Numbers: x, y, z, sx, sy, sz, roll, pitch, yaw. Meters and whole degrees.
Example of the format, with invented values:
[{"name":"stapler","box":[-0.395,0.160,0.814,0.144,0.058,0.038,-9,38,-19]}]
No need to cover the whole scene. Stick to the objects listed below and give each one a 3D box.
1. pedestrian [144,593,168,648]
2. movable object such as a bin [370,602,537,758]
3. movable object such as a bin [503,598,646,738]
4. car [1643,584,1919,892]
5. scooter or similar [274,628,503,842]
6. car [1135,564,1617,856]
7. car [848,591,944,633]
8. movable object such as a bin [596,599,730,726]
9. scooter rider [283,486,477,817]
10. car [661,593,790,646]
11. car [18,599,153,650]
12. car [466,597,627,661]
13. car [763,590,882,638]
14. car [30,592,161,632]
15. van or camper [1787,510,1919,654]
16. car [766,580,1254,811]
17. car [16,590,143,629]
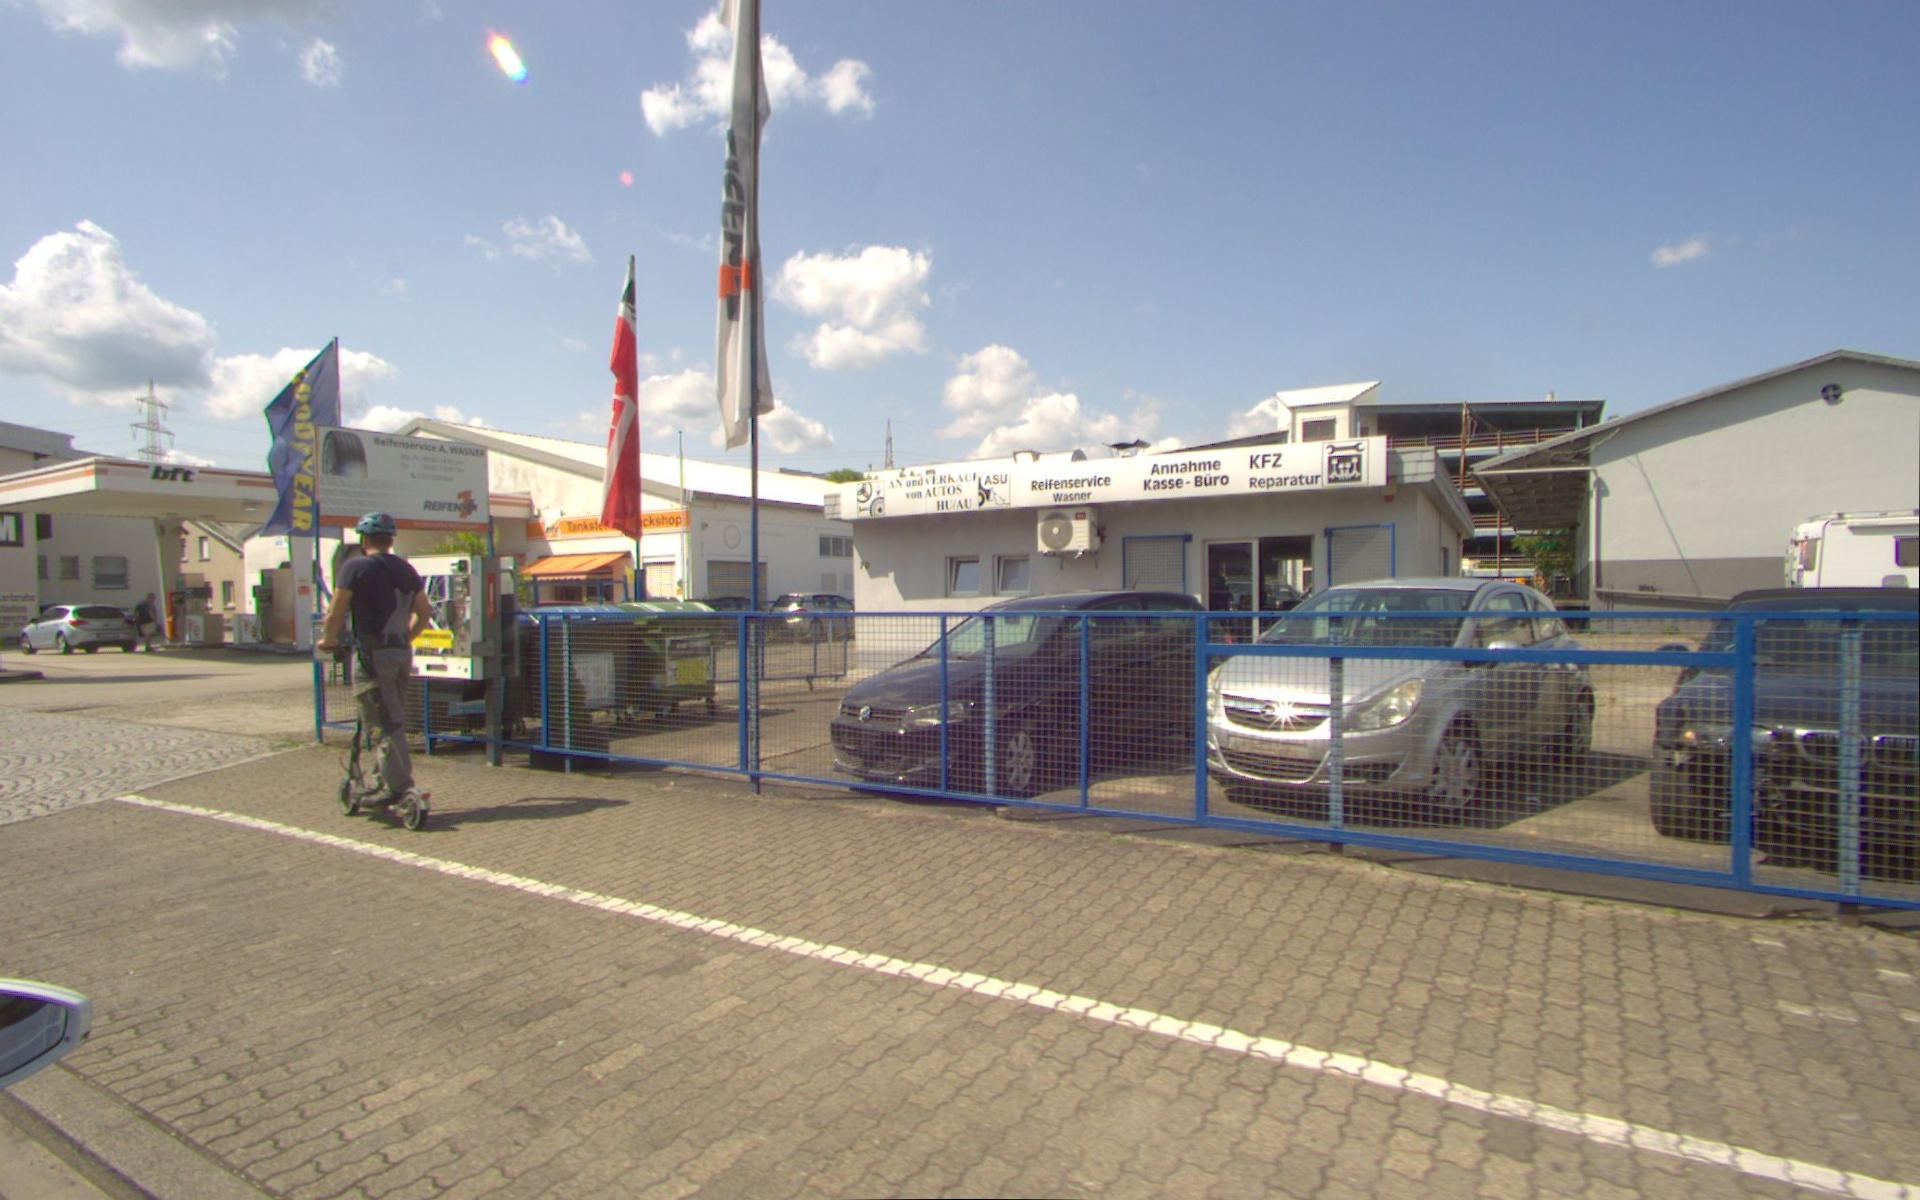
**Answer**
[{"name":"pedestrian","box":[-24.993,0.638,31.123,0.478,1.712,0.395,0,2,33]},{"name":"movable object such as a bin","box":[-5.176,0.773,10.290,0.812,1.464,1.253,-1,1,32]},{"name":"movable object such as a bin","box":[-4.365,0.733,11.401,0.812,1.464,1.253,-1,1,32]},{"name":"car","box":[5.447,0.597,6.075,1.799,1.374,3.968,0,0,40]},{"name":"scooter or similar","box":[-3.692,0.800,6.436,1.587,1.211,0.539,-1,2,32]},{"name":"car","box":[3.161,0.551,7.188,3.959,1.516,1.734,-1,1,-43]},{"name":"car","box":[-2.271,0.412,36.462,1.589,1.407,3.652,-1,1,33]},{"name":"movable object such as a bin","box":[-3.692,0.742,12.544,0.939,1.464,1.320,-1,1,25]},{"name":"scooter rider","box":[-3.753,0.301,6.501,0.774,1.990,0.715,0,4,32]},{"name":"car","box":[-6.659,0.528,28.717,1.589,1.379,3.488,-1,1,32]},{"name":"car","box":[-27.169,0.743,31.112,3.940,1.439,1.956,-1,1,30]},{"name":"car","box":[-9.988,0.652,24.387,1.589,1.379,3.313,-1,1,32]},{"name":"car","box":[-4.409,0.421,32.640,1.589,1.407,3.998,-1,1,33]},{"name":"car","box":[-38.563,0.512,44.750,1.937,1.671,3.979,-1,1,31]},{"name":"van or camper","box":[20.127,-0.385,20.159,4.985,2.810,2.305,-1,1,29]},{"name":"car","box":[0.575,0.583,8.274,3.956,1.462,1.695,-1,1,-41]},{"name":"car","box":[-40.591,0.427,46.248,1.937,1.671,3.979,-1,1,31]}]
